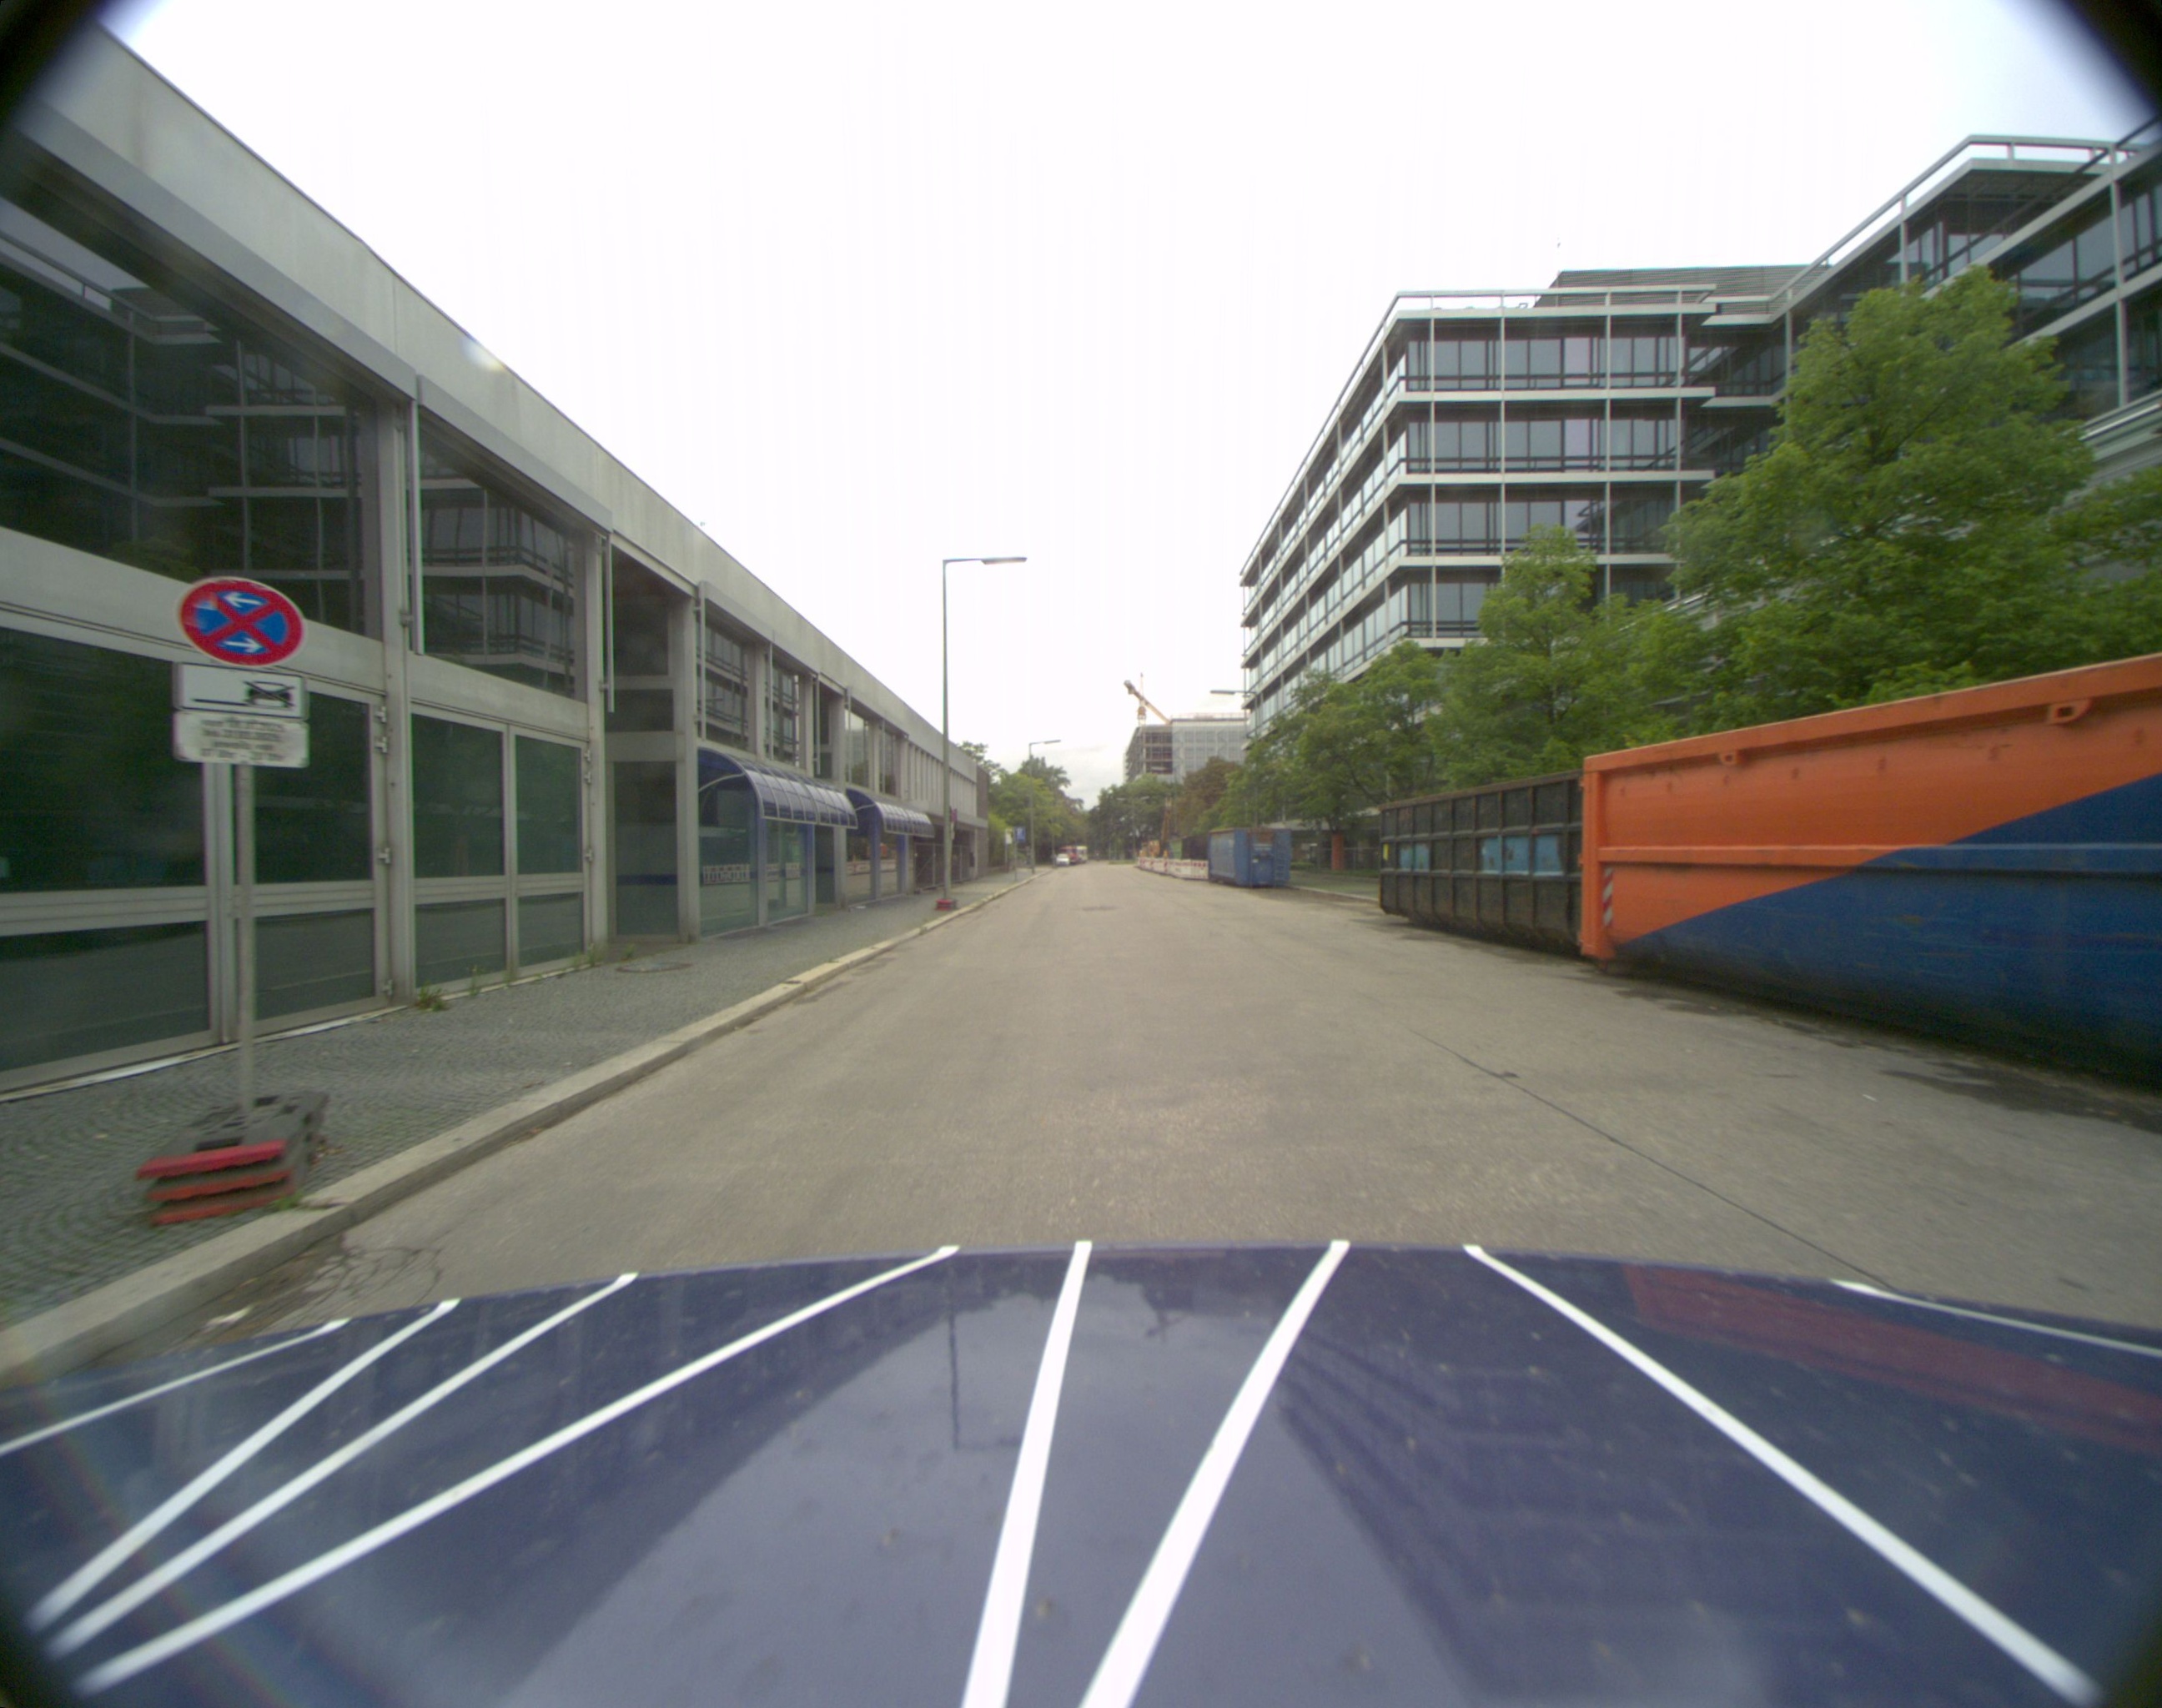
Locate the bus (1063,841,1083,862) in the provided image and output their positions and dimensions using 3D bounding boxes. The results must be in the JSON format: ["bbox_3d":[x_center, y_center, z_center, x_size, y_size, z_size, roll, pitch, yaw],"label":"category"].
[{"bbox_3d":[-1.045,-0.345,102.126,2.077,2.789,6.274,0,0,5],"label":"bus"}]

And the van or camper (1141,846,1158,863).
[{"bbox_3d":[8.821,0.060,98.367,1.993,2.022,5.588,1,0,4],"label":"van or camper"}]

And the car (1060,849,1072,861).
[{"bbox_3d":[-1.898,0.091,94.908,1.536,1.483,4.059,-1,1,-2],"label":"car"}]

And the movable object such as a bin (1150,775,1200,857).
[{"bbox_3d":[8.124,-3.128,66.903,2.911,6.527,11.782,-1,1,0],"label":"movable object such as a bin"}]

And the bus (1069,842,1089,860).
[{"bbox_3d":[-0.217,-0.499,115.859,2.076,2.714,5.871,0,0,10],"label":"bus"}]
